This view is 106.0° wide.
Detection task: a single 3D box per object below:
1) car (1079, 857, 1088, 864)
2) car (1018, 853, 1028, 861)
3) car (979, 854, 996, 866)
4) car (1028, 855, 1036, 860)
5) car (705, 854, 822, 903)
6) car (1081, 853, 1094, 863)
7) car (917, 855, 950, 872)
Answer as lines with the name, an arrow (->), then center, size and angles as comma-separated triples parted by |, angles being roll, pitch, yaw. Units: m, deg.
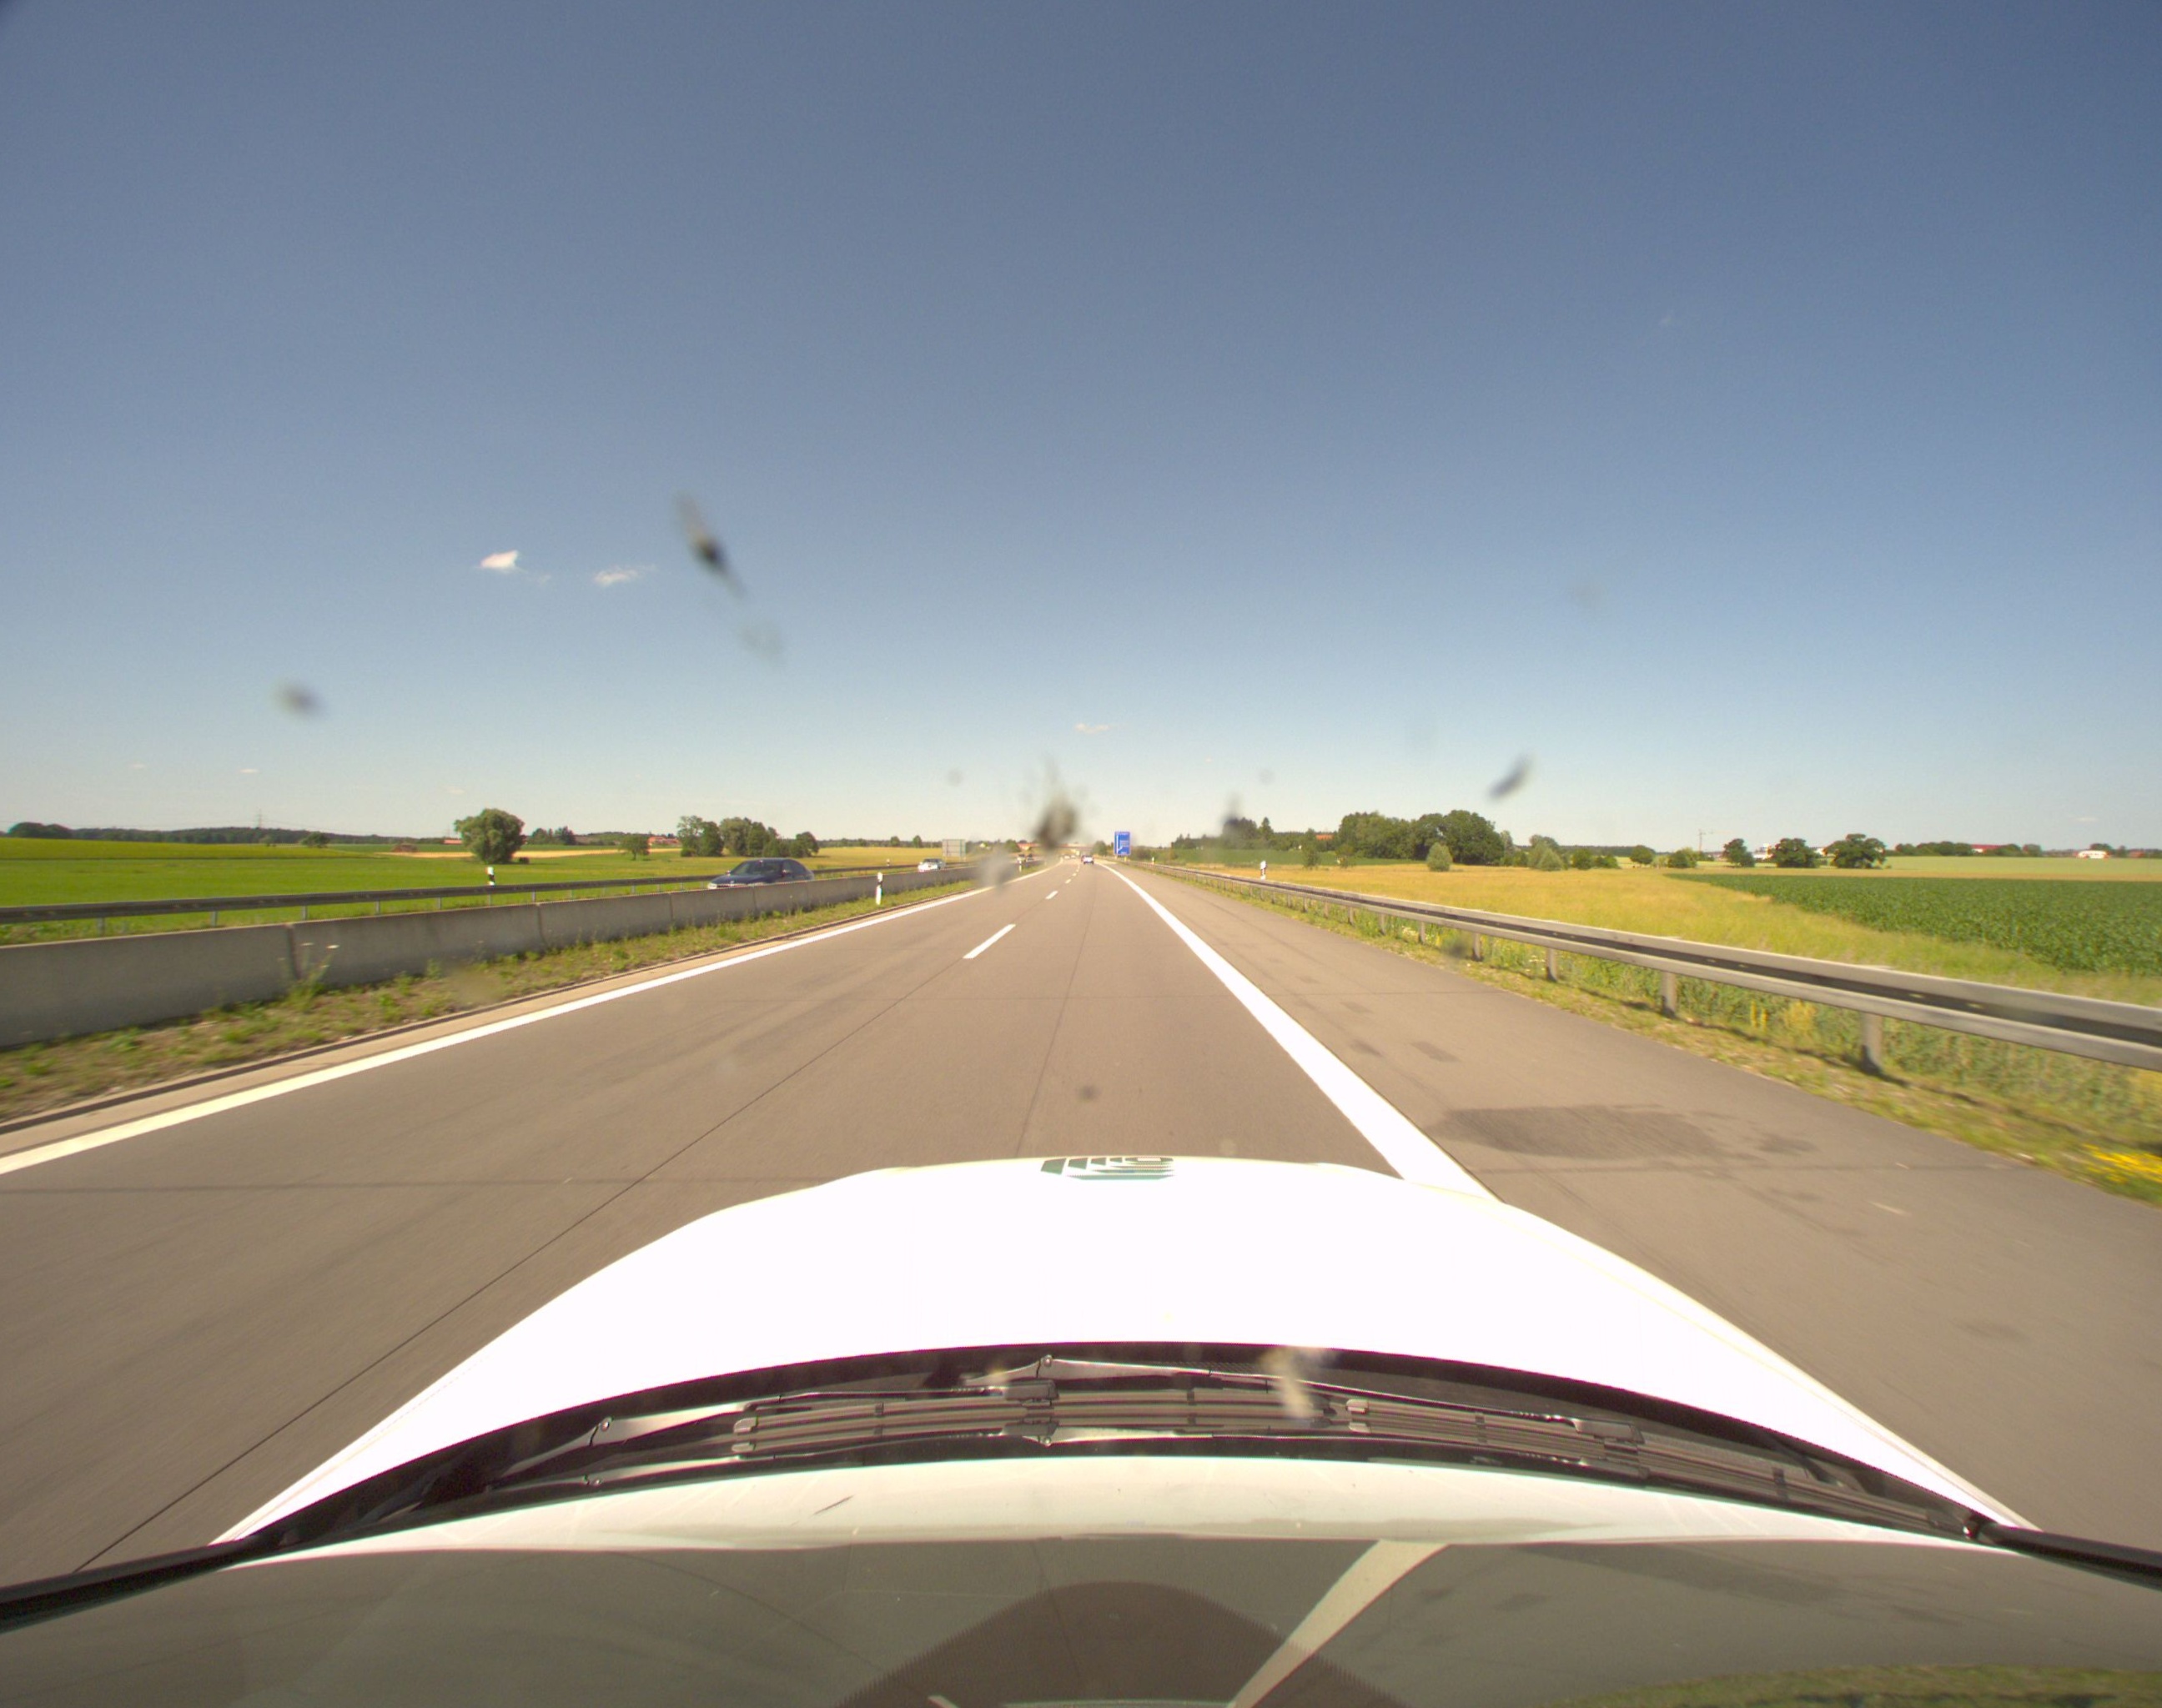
car -> 0.637, 1.525, 193.878 | 1.987, 1.731, 4.868 | 0, 0, 0
car -> -13.728, 0.770, 193.518 | 1.948, 1.842, 5.448 | -1, 0, -1
car -> -13.003, 0.850, 113.661 | 1.853, 1.584, 4.913 | -1, 0, -1
car -> -14.188, 0.968, 236.051 | 1.892, 1.523, 4.804 | -1, 0, -1
car -> -9.951, 0.699, 25.965 | 1.816, 1.365, 4.660 | -1, 0, 1
car -> 1.138, 0.762, 143.383 | 1.988, 1.731, 4.865 | 0, 0, -2
car -> -12.937, 0.785, 71.633 | 1.816, 1.365, 5.295 | -1, 0, 1
